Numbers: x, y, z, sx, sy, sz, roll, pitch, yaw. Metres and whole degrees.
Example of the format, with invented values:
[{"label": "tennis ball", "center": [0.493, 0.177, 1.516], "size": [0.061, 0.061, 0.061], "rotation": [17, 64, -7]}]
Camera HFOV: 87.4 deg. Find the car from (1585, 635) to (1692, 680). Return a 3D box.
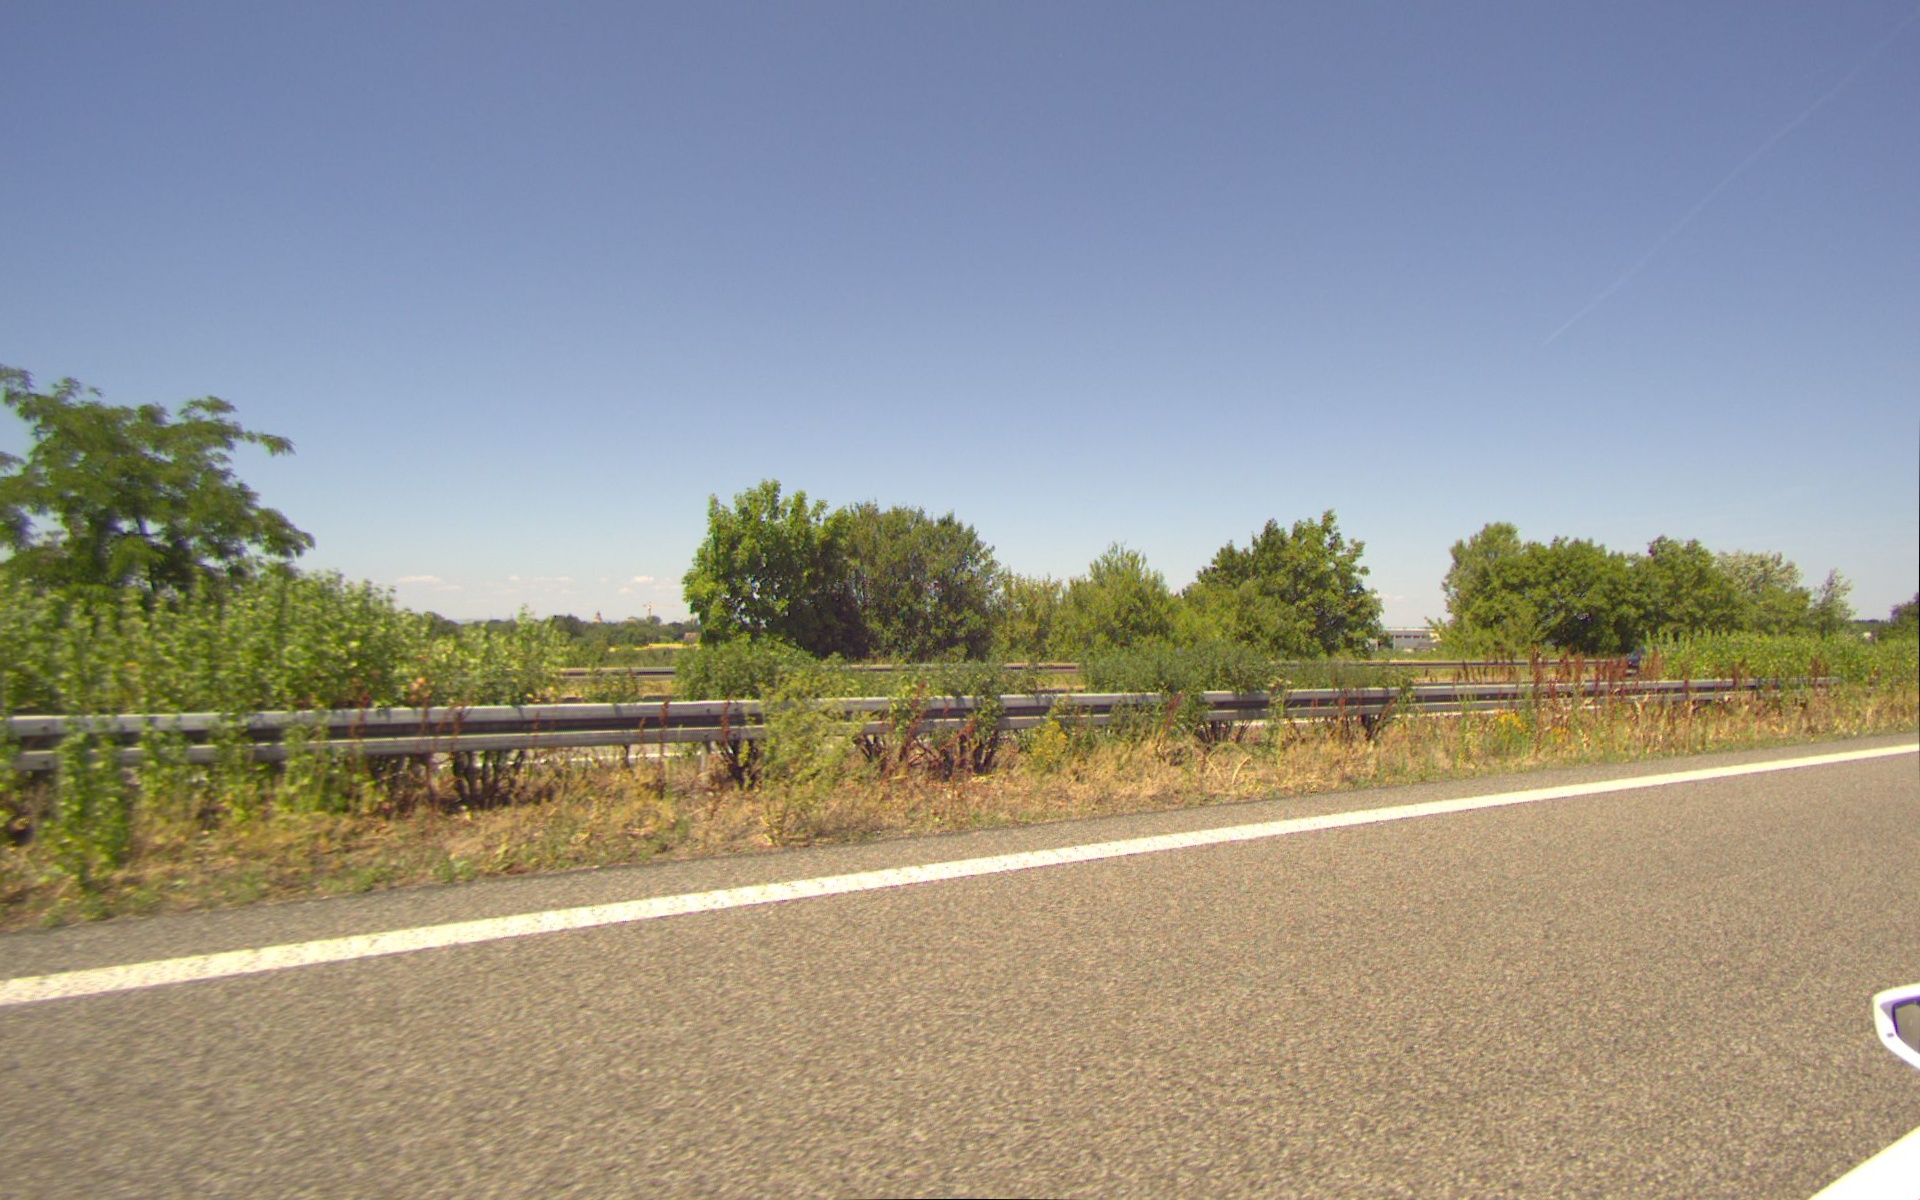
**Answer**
[{"label": "car", "center": [27.850, 2.339, 41.200], "size": [4.371, 1.694, 1.957], "rotation": [2, 0, -31]}]
